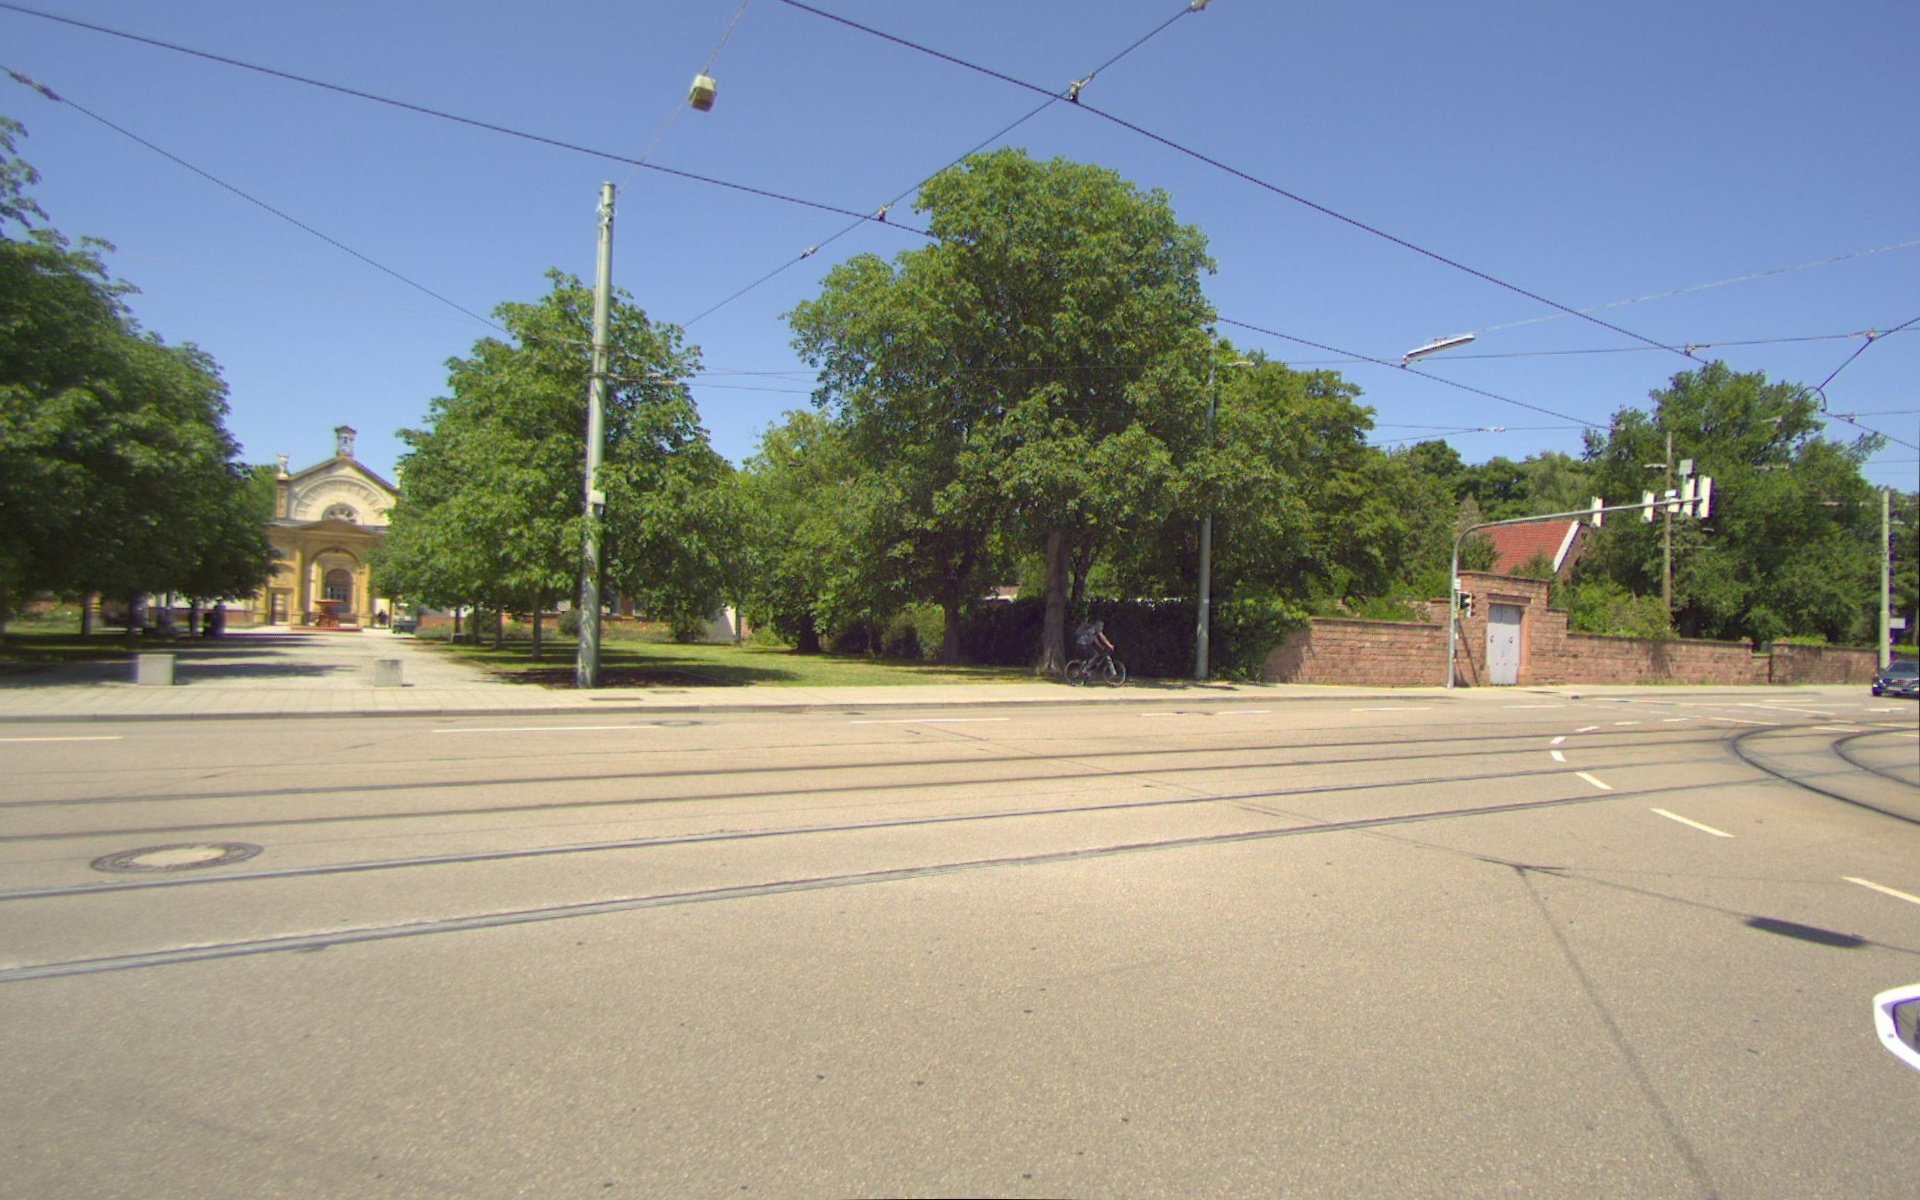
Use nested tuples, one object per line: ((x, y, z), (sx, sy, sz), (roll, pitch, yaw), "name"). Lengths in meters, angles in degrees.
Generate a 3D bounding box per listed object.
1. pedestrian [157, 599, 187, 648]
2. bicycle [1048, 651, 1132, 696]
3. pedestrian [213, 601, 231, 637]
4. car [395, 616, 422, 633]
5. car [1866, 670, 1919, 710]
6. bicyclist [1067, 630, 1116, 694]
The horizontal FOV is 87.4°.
((-27.692, 0.826, 35.296), (0.704, 1.669, 0.524), (3, -2, -31), "pedestrian")
((3.297, 1.859, 25.317), (2.080, 1.054, 0.711), (4, -2, -31), "bicycle")
((-31.466, 0.796, 42.845), (0.527, 1.503, 0.523), (3, -2, -33), "pedestrian")
((-35.115, 1.538, 63.910), (1.316, 0.964, 2.713), (4, -2, -32), "car")
((42.182, 3.967, 44.487), (4.467, 1.624, 1.811), (3, -2, -30), "car")
((3.304, 1.562, 25.319), (0.836, 1.550, 0.846), (4, -2, -30), "bicyclist")
